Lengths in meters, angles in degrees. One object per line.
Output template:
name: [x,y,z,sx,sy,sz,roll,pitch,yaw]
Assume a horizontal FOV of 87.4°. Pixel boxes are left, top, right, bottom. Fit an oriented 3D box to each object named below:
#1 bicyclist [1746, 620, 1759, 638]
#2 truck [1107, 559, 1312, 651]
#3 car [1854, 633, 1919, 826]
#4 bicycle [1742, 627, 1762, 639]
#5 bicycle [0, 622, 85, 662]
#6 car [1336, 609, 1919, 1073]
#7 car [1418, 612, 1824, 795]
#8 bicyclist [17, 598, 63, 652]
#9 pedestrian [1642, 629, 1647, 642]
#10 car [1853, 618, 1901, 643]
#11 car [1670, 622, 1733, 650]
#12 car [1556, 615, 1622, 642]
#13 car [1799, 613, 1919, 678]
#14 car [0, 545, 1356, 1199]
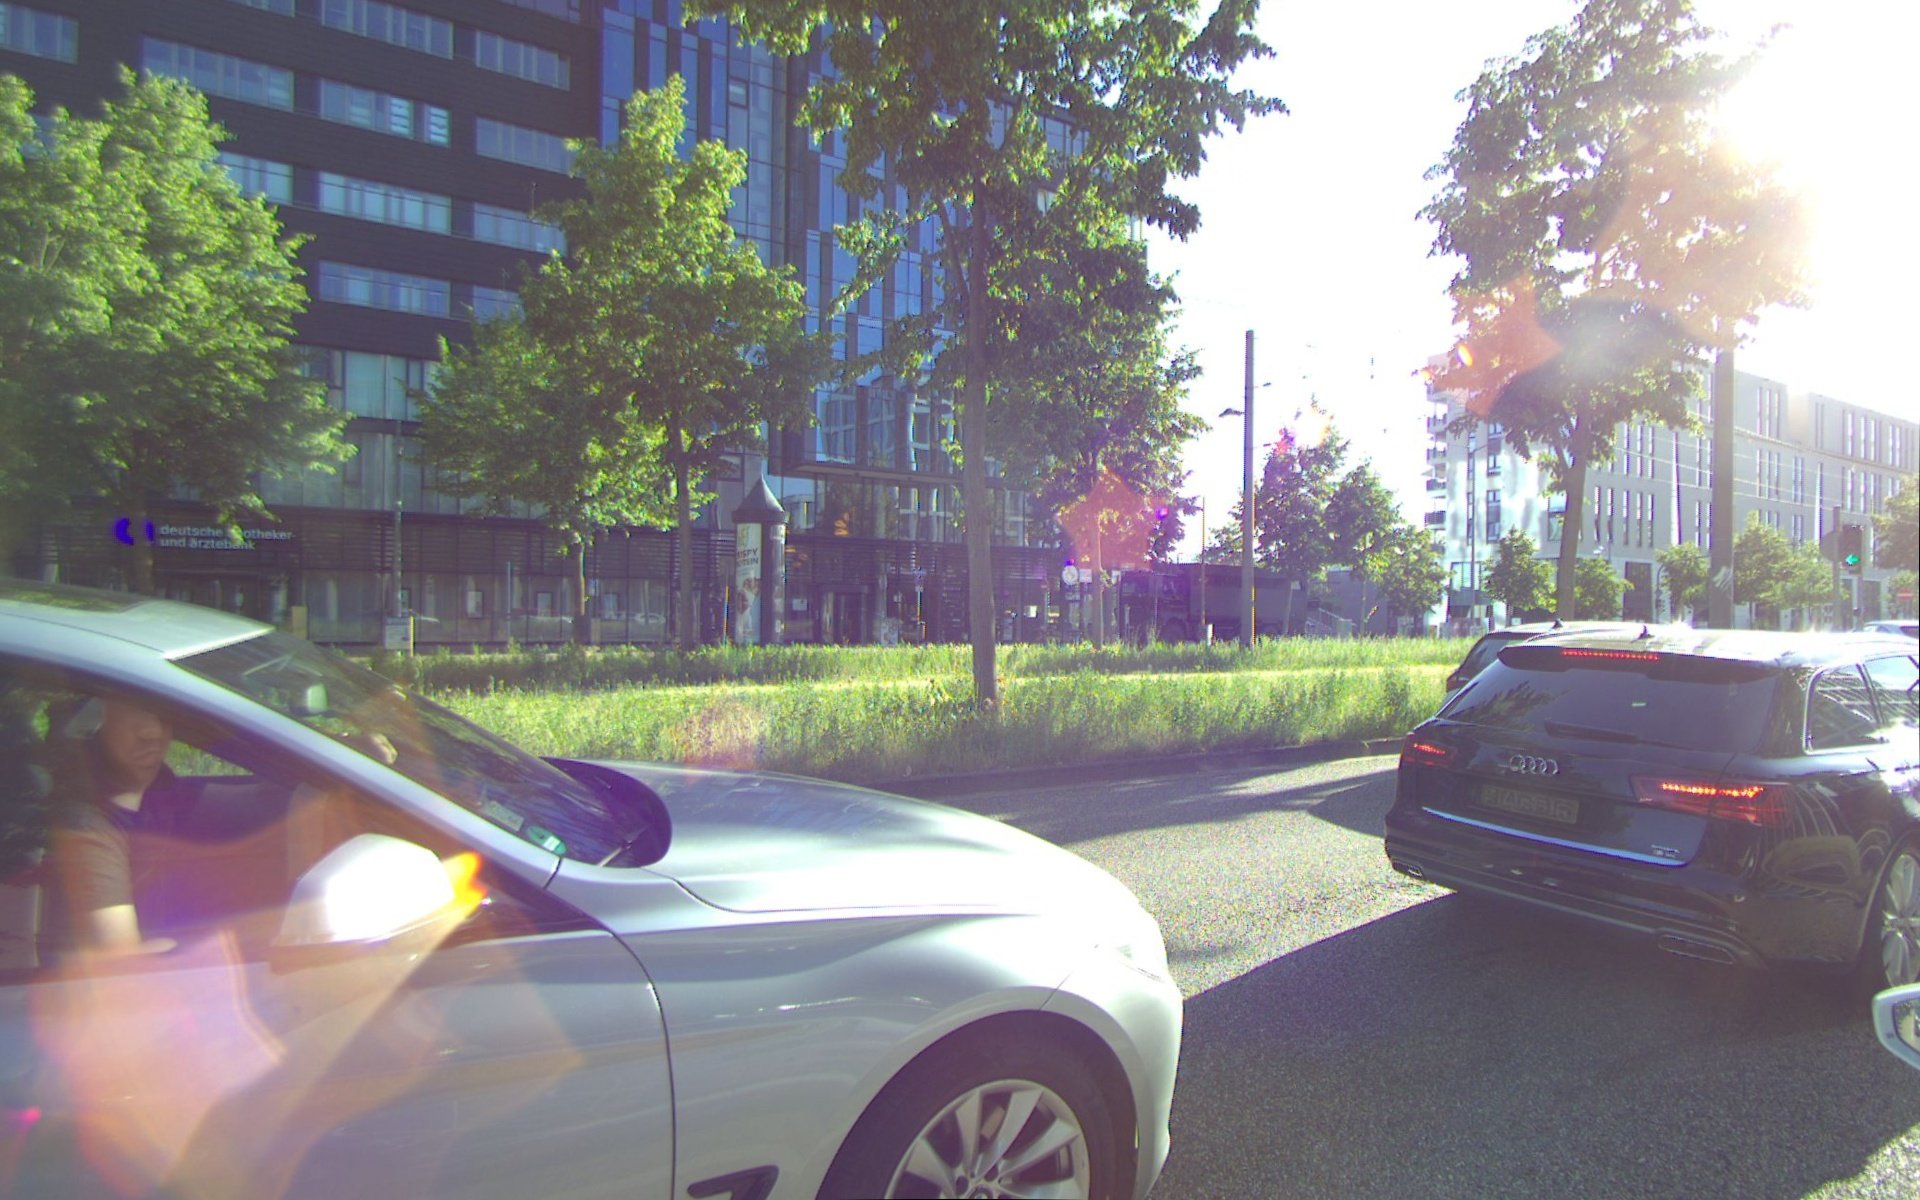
bicyclist: [67.609,2.474,85.698,0.706,1.549,0.674,1,0,-30]
truck: [11.696,0.303,46.500,10.094,3.904,2.877,1,-1,-31]
car: [9.351,1.022,8.209,4.288,1.445,1.833,1,-1,-30]
bicycle: [67.530,2.853,85.651,1.933,1.001,0.673,1,-1,-31]
bicycle: [-24.937,1.127,27.238,1.735,1.049,0.475,1,-1,-31]
car: [4.396,0.838,5.364,4.911,1.504,1.864,1,-1,-32]
car: [6.759,0.891,10.118,4.520,1.467,1.788,1,-1,-33]
bicyclist: [-24.931,0.667,27.239,0.811,1.443,0.475,1,-1,-30]
pedestrian: [57.376,2.951,84.199,0.286,1.100,0.252,1,0,-30]
car: [78.096,2.580,85.530,3.953,2.040,1.984,1,-1,-30]
car: [51.469,2.506,69.683,4.319,1.838,1.984,1,-1,-30]
car: [37.531,1.682,59.908,3.953,1.540,1.756,1,-1,-30]
car: [25.823,1.240,28.064,1.768,1.503,4.570,3,2,15]
car: [-1.493,0.696,1.873,4.509,1.504,1.810,1,-1,-31]
